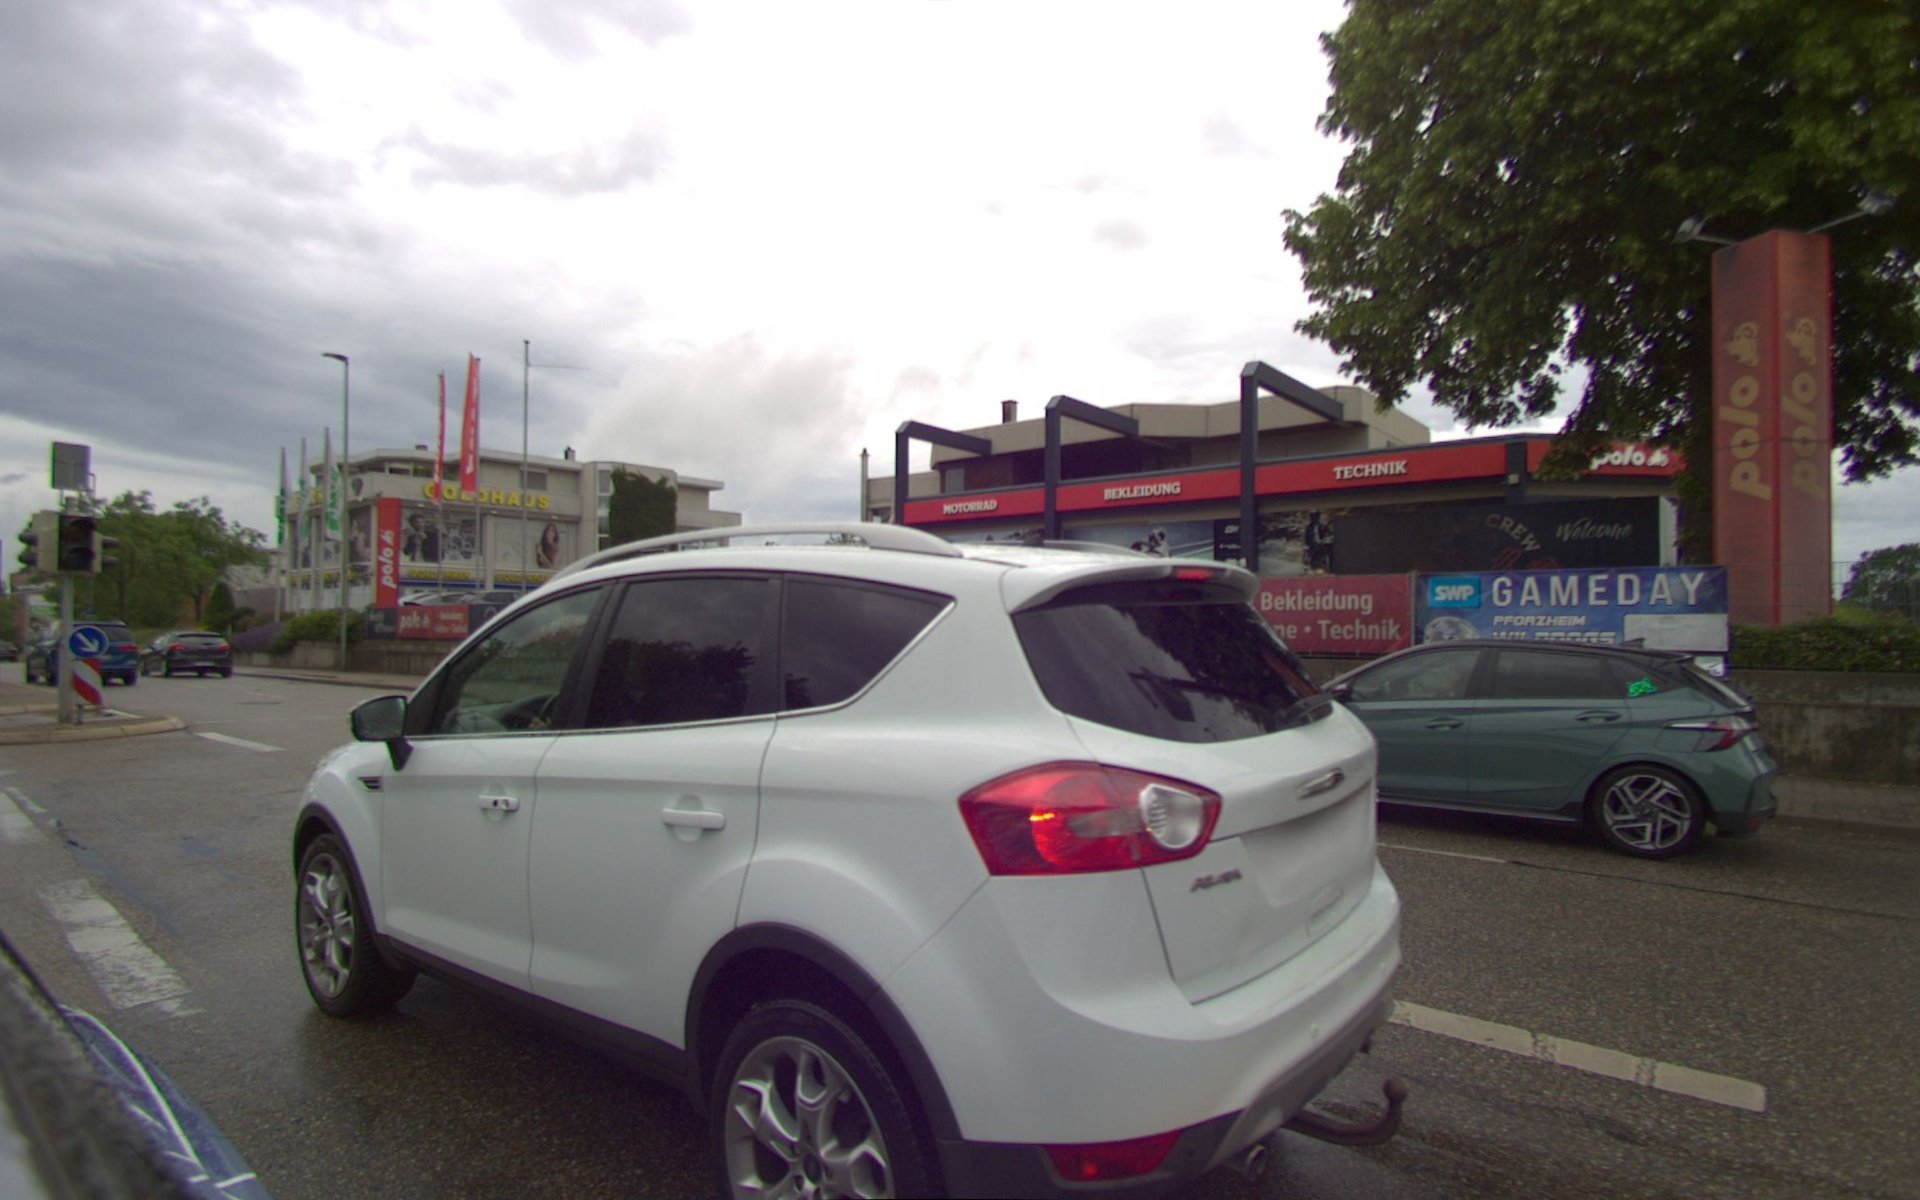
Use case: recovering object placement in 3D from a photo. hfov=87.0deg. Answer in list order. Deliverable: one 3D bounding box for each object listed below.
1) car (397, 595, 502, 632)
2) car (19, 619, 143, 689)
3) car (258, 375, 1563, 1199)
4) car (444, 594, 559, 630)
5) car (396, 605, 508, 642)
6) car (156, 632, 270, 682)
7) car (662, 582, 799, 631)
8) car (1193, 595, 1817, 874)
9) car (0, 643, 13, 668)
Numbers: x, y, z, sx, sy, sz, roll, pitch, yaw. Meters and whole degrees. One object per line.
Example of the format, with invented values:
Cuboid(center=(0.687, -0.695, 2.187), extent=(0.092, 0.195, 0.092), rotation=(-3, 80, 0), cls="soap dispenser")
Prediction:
Cuboid(center=(-19.913, 0.561, 39.565), extent=(1.454, 1.347, 3.350), rotation=(-3, -3, 42), cls="car")
Cuboid(center=(-22.862, 1.387, 26.274), extent=(4.295, 1.662, 1.820), rotation=(-2, -4, 41), cls="car")
Cuboid(center=(-0.618, 0.604, 3.406), extent=(4.294, 1.662, 1.821), rotation=(-2, -2, 40), cls="car")
Cuboid(center=(-15.944, 0.453, 35.290), extent=(1.452, 1.176, 3.353), rotation=(-2, -3, 38), cls="car")
Cuboid(center=(-18.557, 0.865, 37.067), extent=(1.452, 1.287, 3.353), rotation=(-2, -3, 38), cls="car")
Cuboid(center=(-22.678, 1.698, 30.663), extent=(4.123, 1.390, 1.897), rotation=(-2, -4, 41), cls="car")
Cuboid(center=(-5.978, 0.203, 26.580), extent=(1.452, 1.176, 3.353), rotation=(-2, -3, 38), cls="car")
Cuboid(center=(4.020, 0.875, 7.882), extent=(3.998, 1.630, 1.659), rotation=(-2, -4, 41), cls="car")
Cuboid(center=(-77.903, 4.461, 81.236), extent=(4.542, 1.905, 2.320), rotation=(-5, -5, 41), cls="car")
